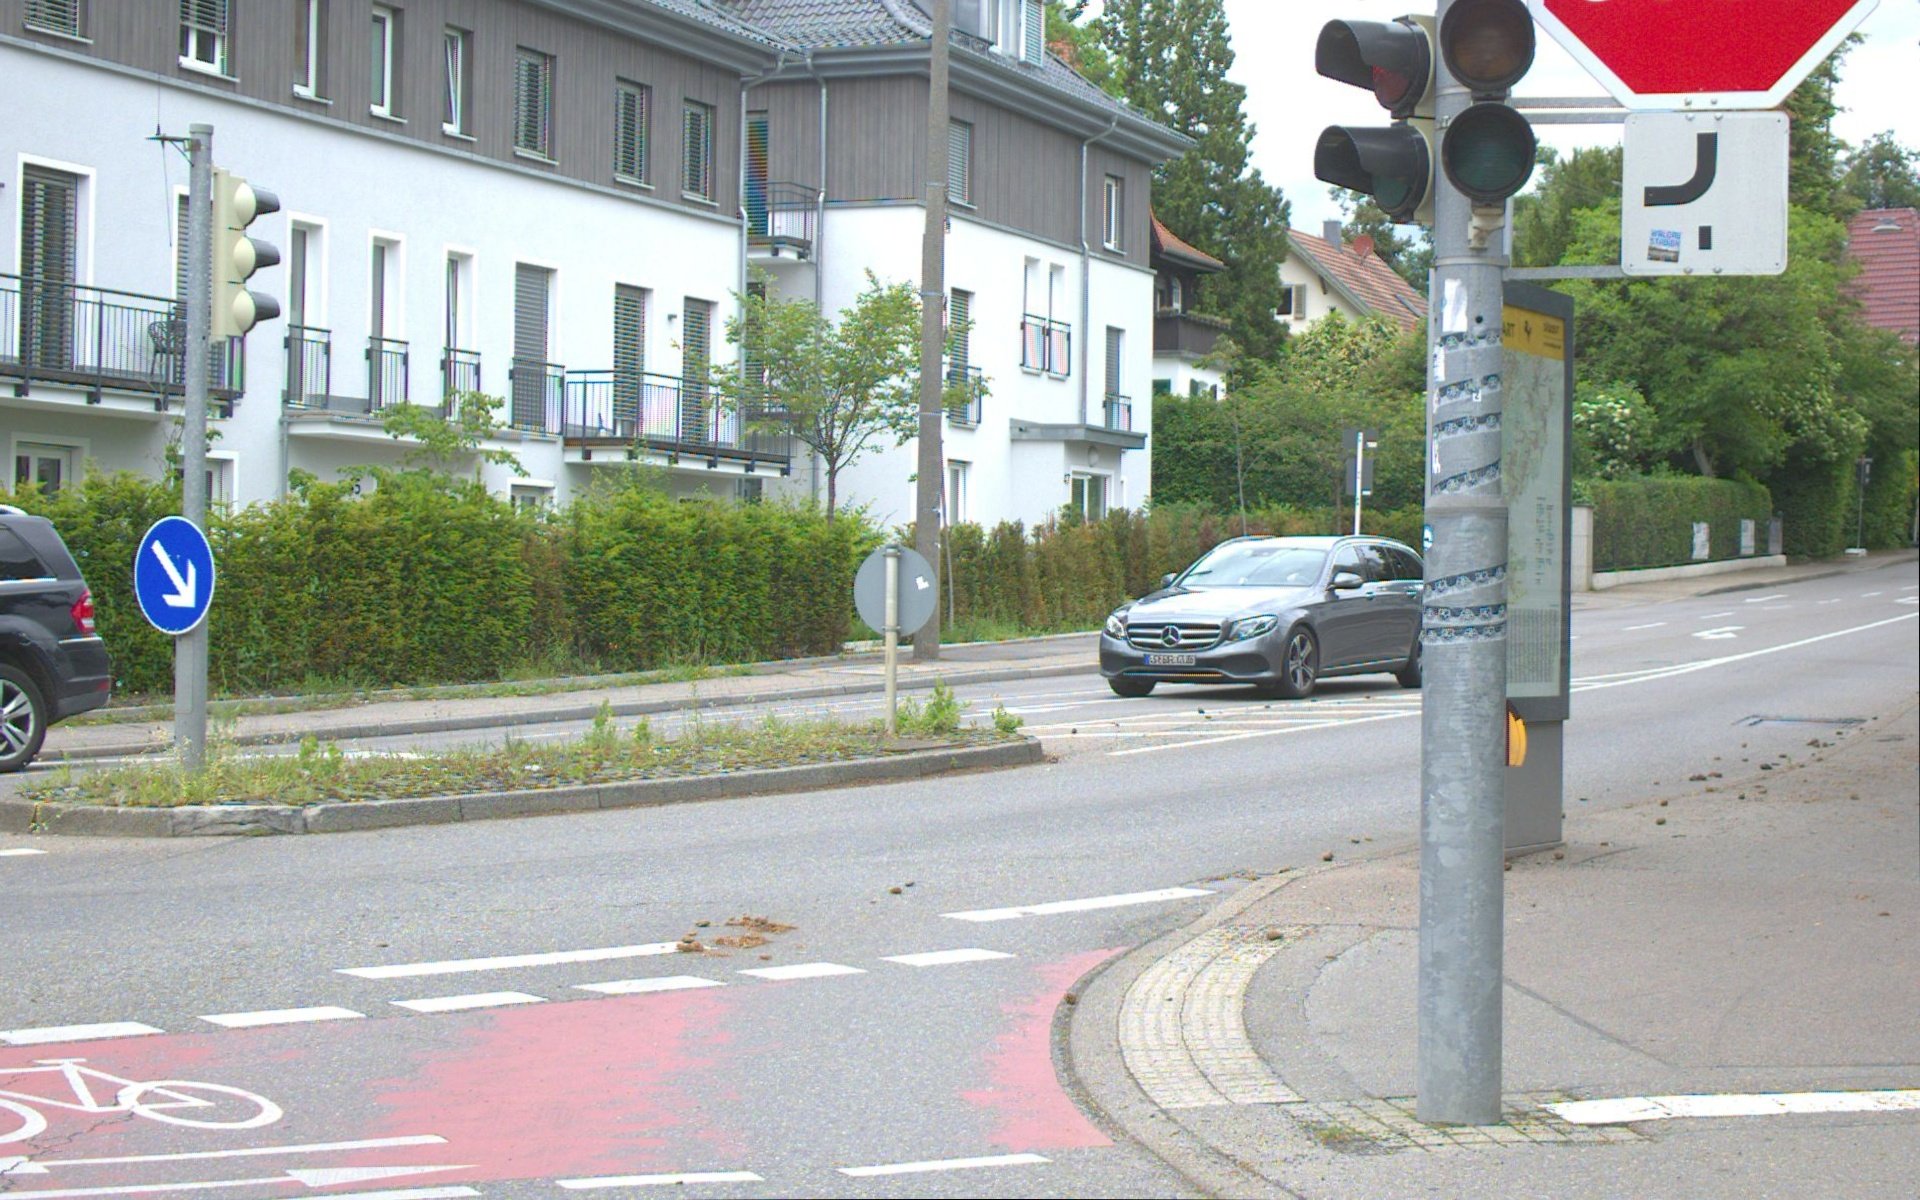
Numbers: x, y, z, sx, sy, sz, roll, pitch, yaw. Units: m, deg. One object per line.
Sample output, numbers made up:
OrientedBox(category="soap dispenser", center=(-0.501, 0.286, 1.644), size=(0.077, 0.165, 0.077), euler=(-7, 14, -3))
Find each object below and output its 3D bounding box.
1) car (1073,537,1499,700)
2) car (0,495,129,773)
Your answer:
OrientedBox(category="car", center=(3.154, 0.116, 32.401), size=(1.942, 1.399, 4.733), euler=(1, 2, 34))
OrientedBox(category="car", center=(-8.158, 0.253, 22.573), size=(1.916, 1.874, 5.130), euler=(-1, 0, 39))
